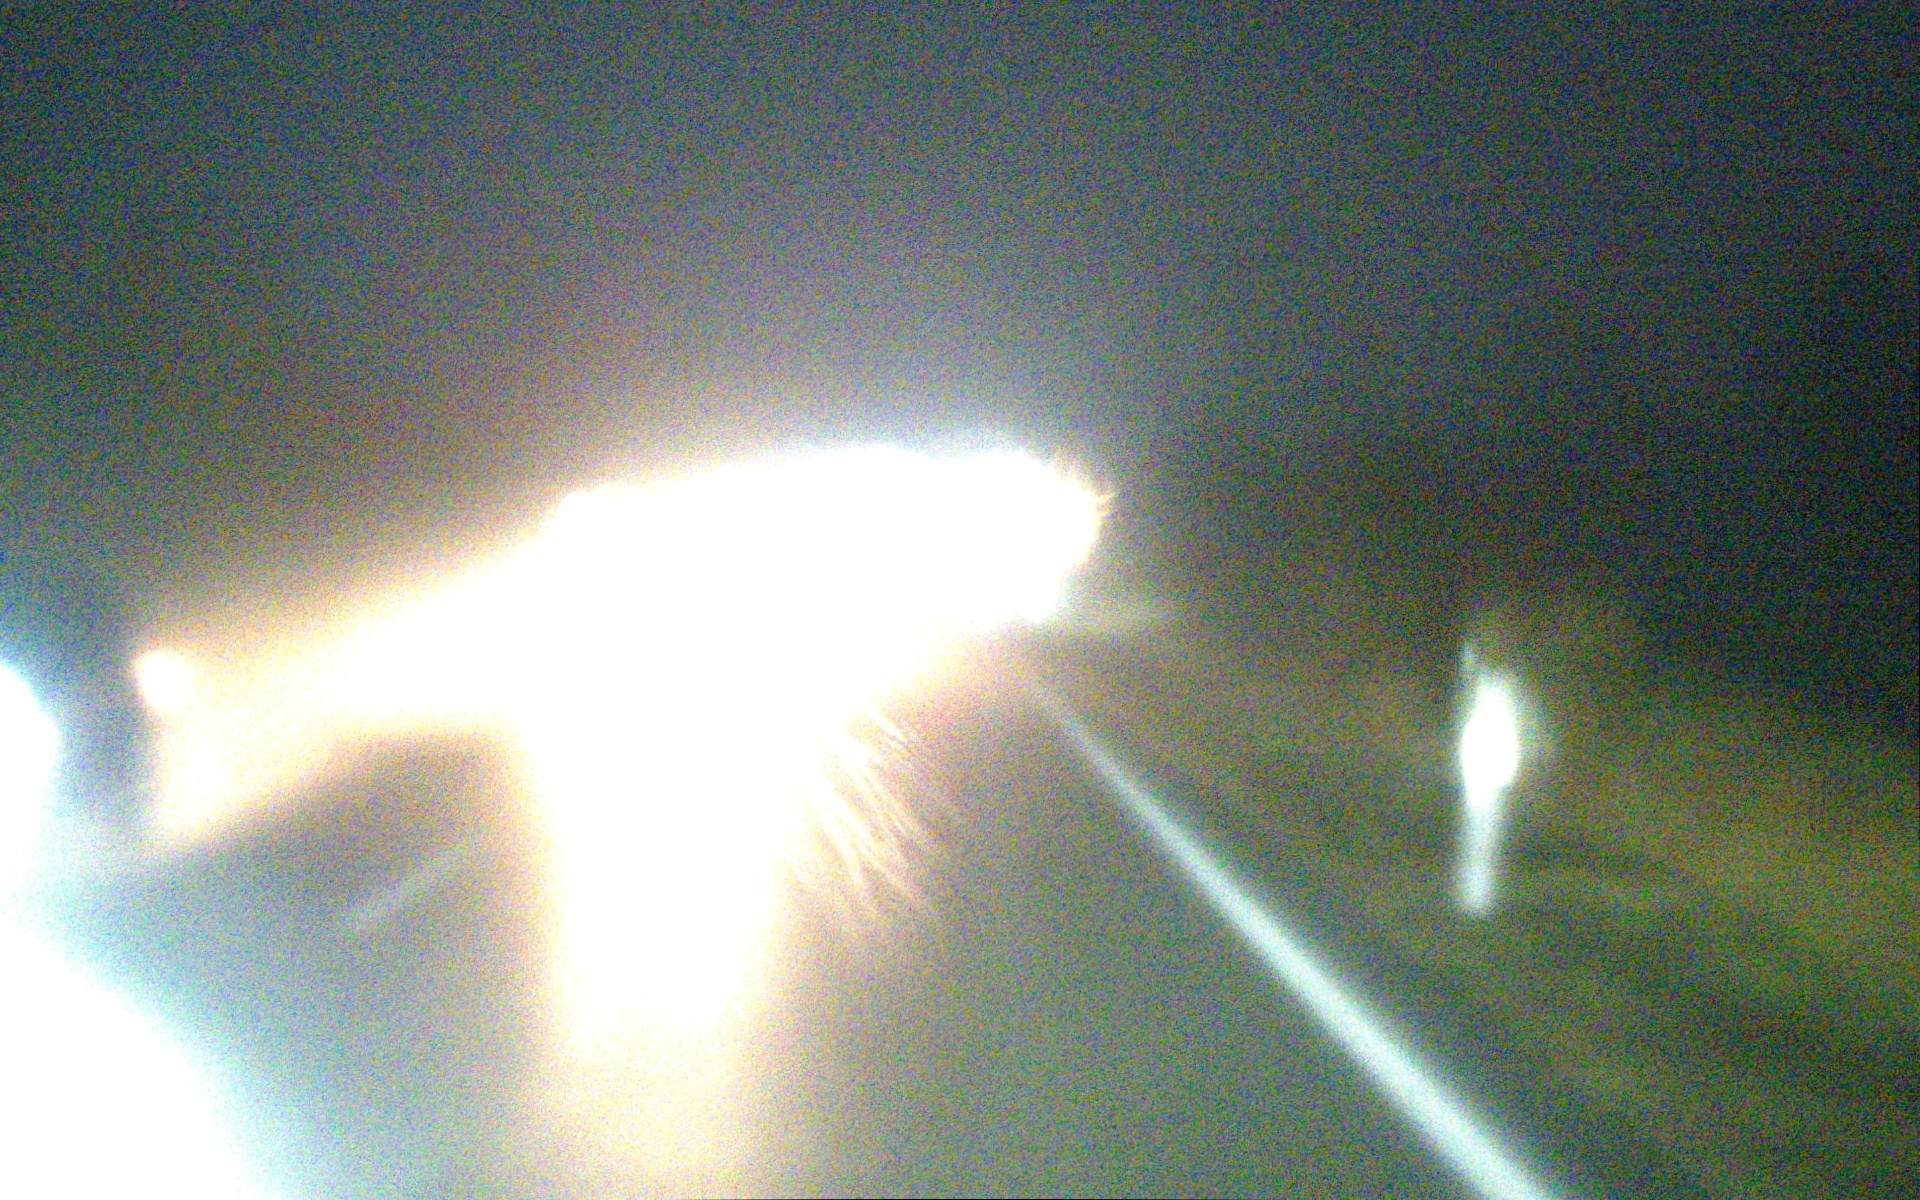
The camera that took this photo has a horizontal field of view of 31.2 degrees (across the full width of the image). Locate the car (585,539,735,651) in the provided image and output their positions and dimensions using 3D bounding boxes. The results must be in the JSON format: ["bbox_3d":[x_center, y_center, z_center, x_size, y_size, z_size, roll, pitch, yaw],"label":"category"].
[{"bbox_3d":[-4.666,-0.090,53.978,1.993,1.655,4.000,1,0,0],"label":"car"}]

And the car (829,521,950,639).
[{"bbox_3d":[-1.166,-0.361,55.917,1.842,1.734,4.001,2,2,-2],"label":"car"}]

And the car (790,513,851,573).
[{"bbox_3d":[-4.662,-1.898,115.707,1.803,1.921,4.000,1,0,1],"label":"car"}]

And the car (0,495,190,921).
[{"bbox_3d":[-4.803,0.410,15.280,1.993,1.656,4.000,1,0,-3],"label":"car"}]

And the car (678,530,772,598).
[{"bbox_3d":[-5.169,-0.792,76.001,1.819,1.436,4.000,1,0,0],"label":"car"}]
